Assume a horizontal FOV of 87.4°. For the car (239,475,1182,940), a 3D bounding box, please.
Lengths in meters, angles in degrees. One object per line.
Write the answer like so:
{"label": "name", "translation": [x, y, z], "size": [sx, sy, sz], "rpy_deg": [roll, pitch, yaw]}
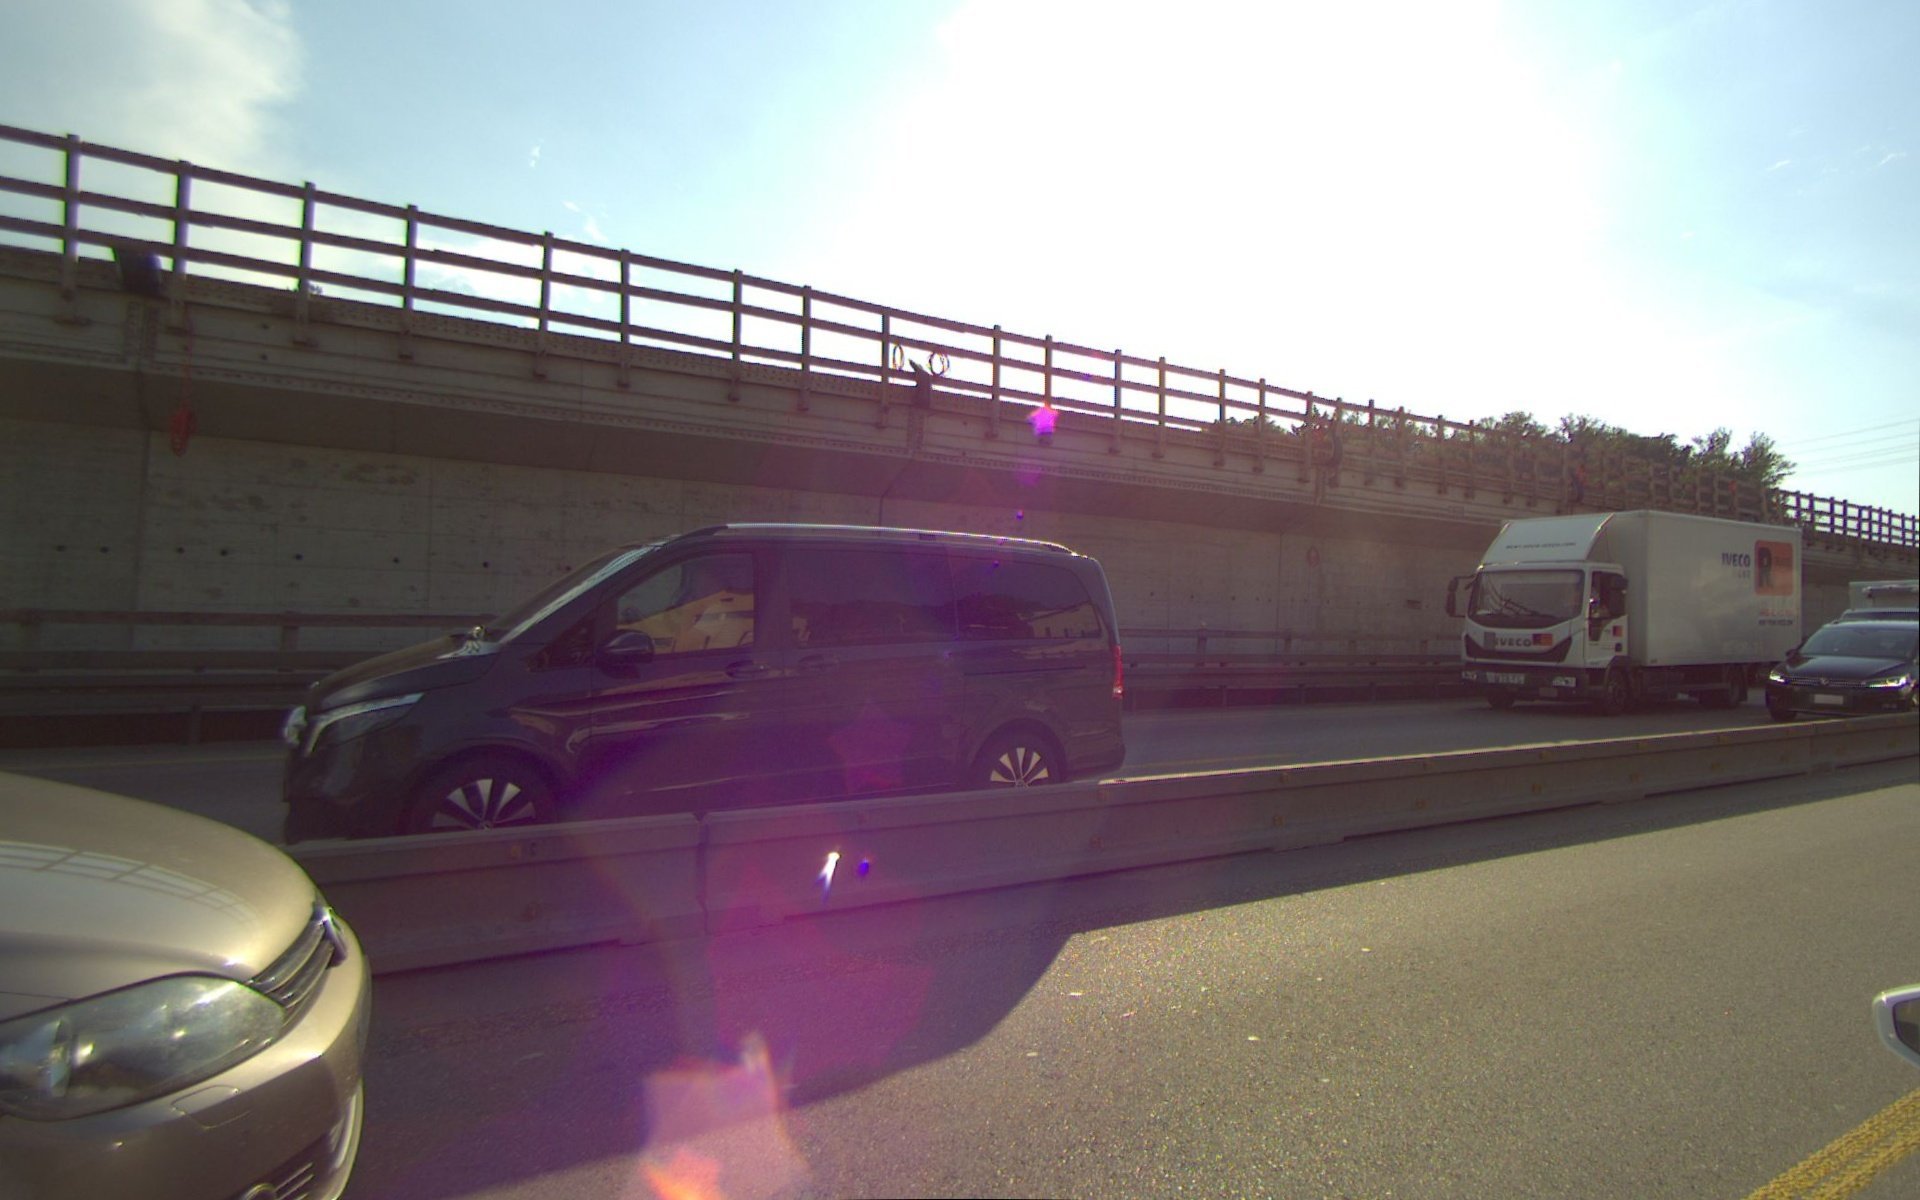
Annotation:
{"label": "car", "translation": [-1.241, 0.494, 6.400], "size": [5.230, 1.948, 1.975], "rpy_deg": [2, 1, -31]}

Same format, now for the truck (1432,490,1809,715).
{"label": "truck", "translation": [12.516, 0.241, 18.788], "size": [8.049, 3.469, 2.701], "rpy_deg": [2, -3, -31]}

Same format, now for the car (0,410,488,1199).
{"label": "car", "translation": [-3.039, 0.547, 1.370], "size": [4.222, 1.609, 1.673], "rpy_deg": [1, -2, -31]}

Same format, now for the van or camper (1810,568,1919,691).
{"label": "van or camper", "translation": [25.657, 0.863, 27.170], "size": [6.154, 3.028, 2.307], "rpy_deg": [3, -2, -32]}

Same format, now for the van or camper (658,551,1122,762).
{"label": "van or camper", "translation": [-0.691, 0.566, 11.317], "size": [4.866, 1.948, 1.907], "rpy_deg": [2, 0, -31]}

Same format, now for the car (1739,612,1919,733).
{"label": "car", "translation": [14.767, 1.130, 16.263], "size": [4.635, 1.667, 1.822], "rpy_deg": [3, 0, -31]}
